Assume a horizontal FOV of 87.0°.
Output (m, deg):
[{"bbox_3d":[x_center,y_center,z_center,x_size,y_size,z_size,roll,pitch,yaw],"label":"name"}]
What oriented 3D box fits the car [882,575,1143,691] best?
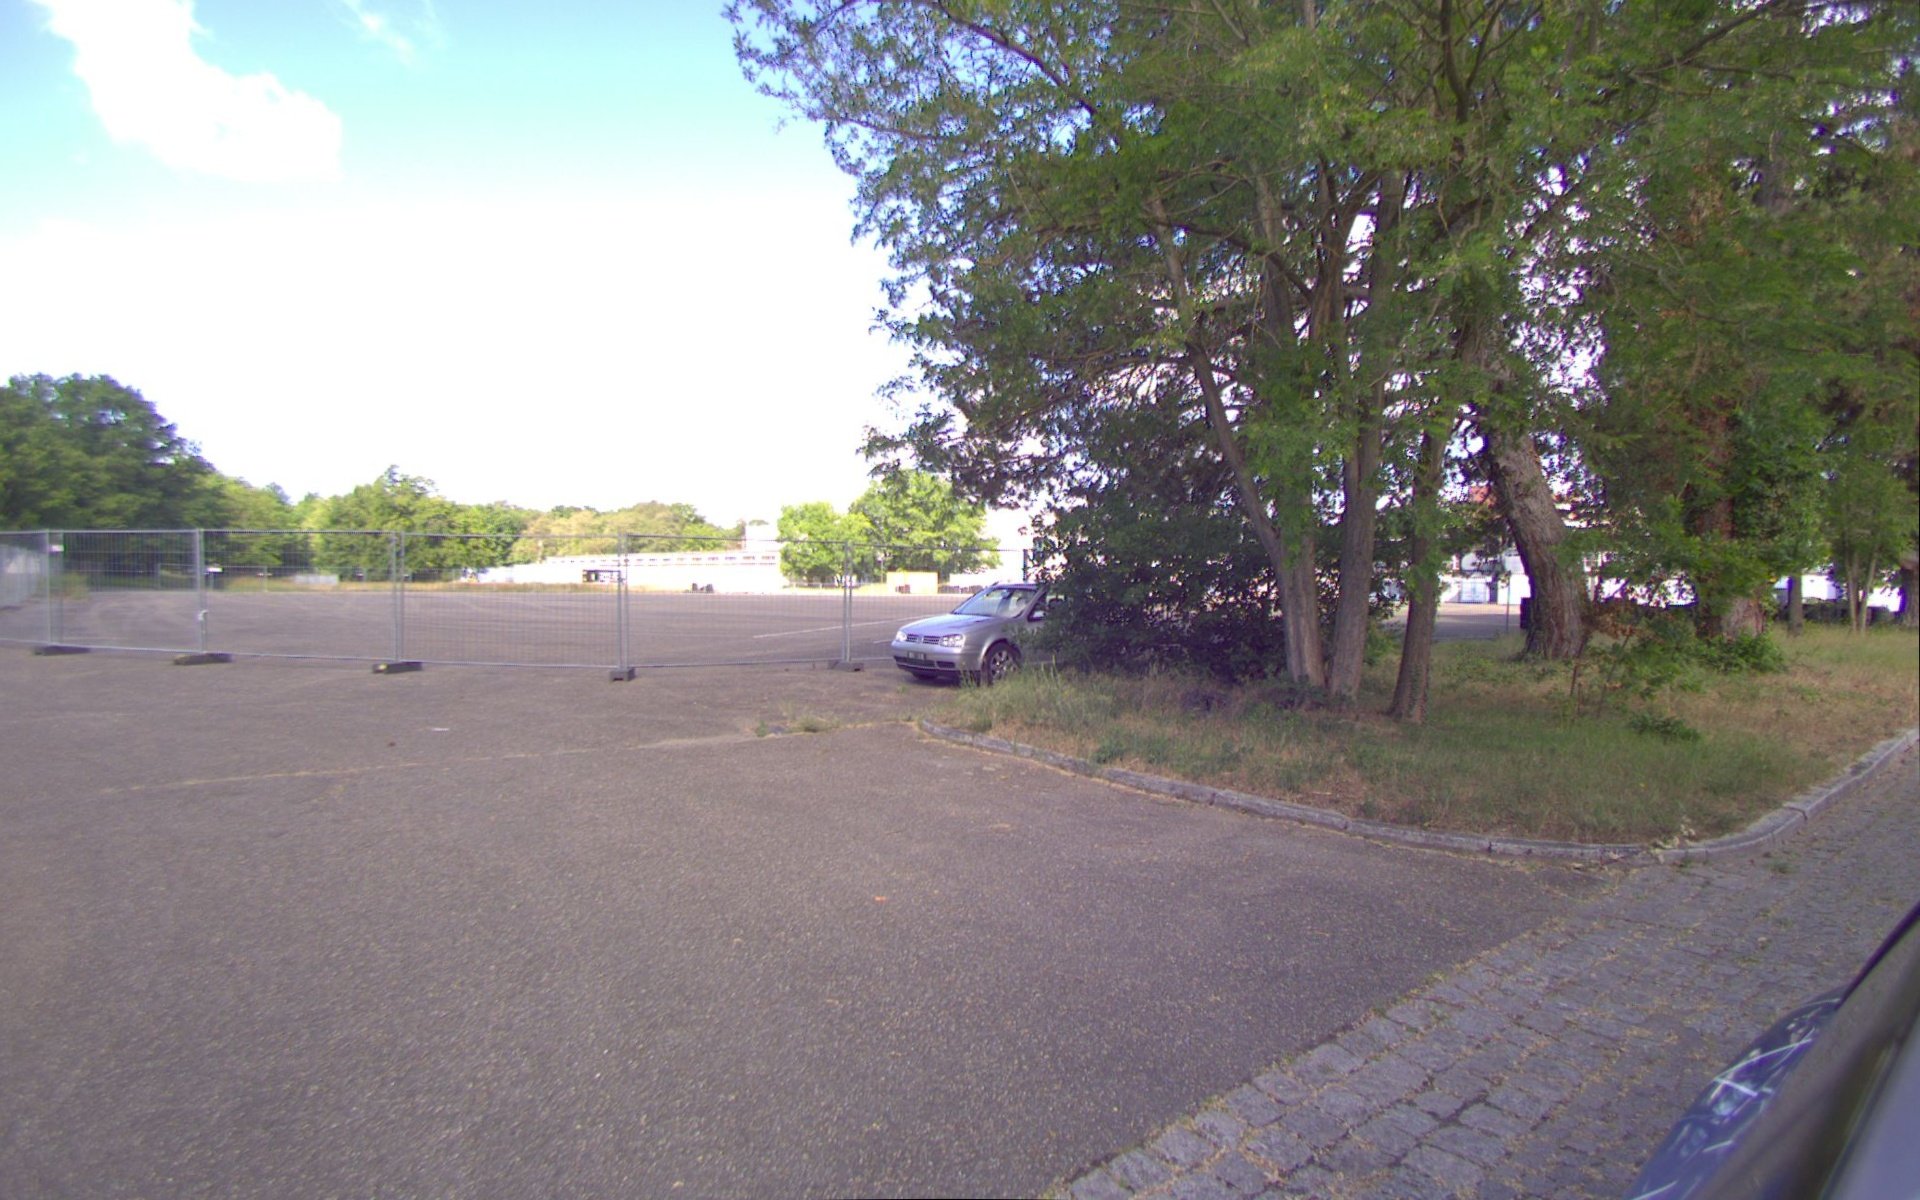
[{"bbox_3d":[0.872,0.392,14.833,3.920,1.462,1.576,0,1,-44],"label":"car"}]
